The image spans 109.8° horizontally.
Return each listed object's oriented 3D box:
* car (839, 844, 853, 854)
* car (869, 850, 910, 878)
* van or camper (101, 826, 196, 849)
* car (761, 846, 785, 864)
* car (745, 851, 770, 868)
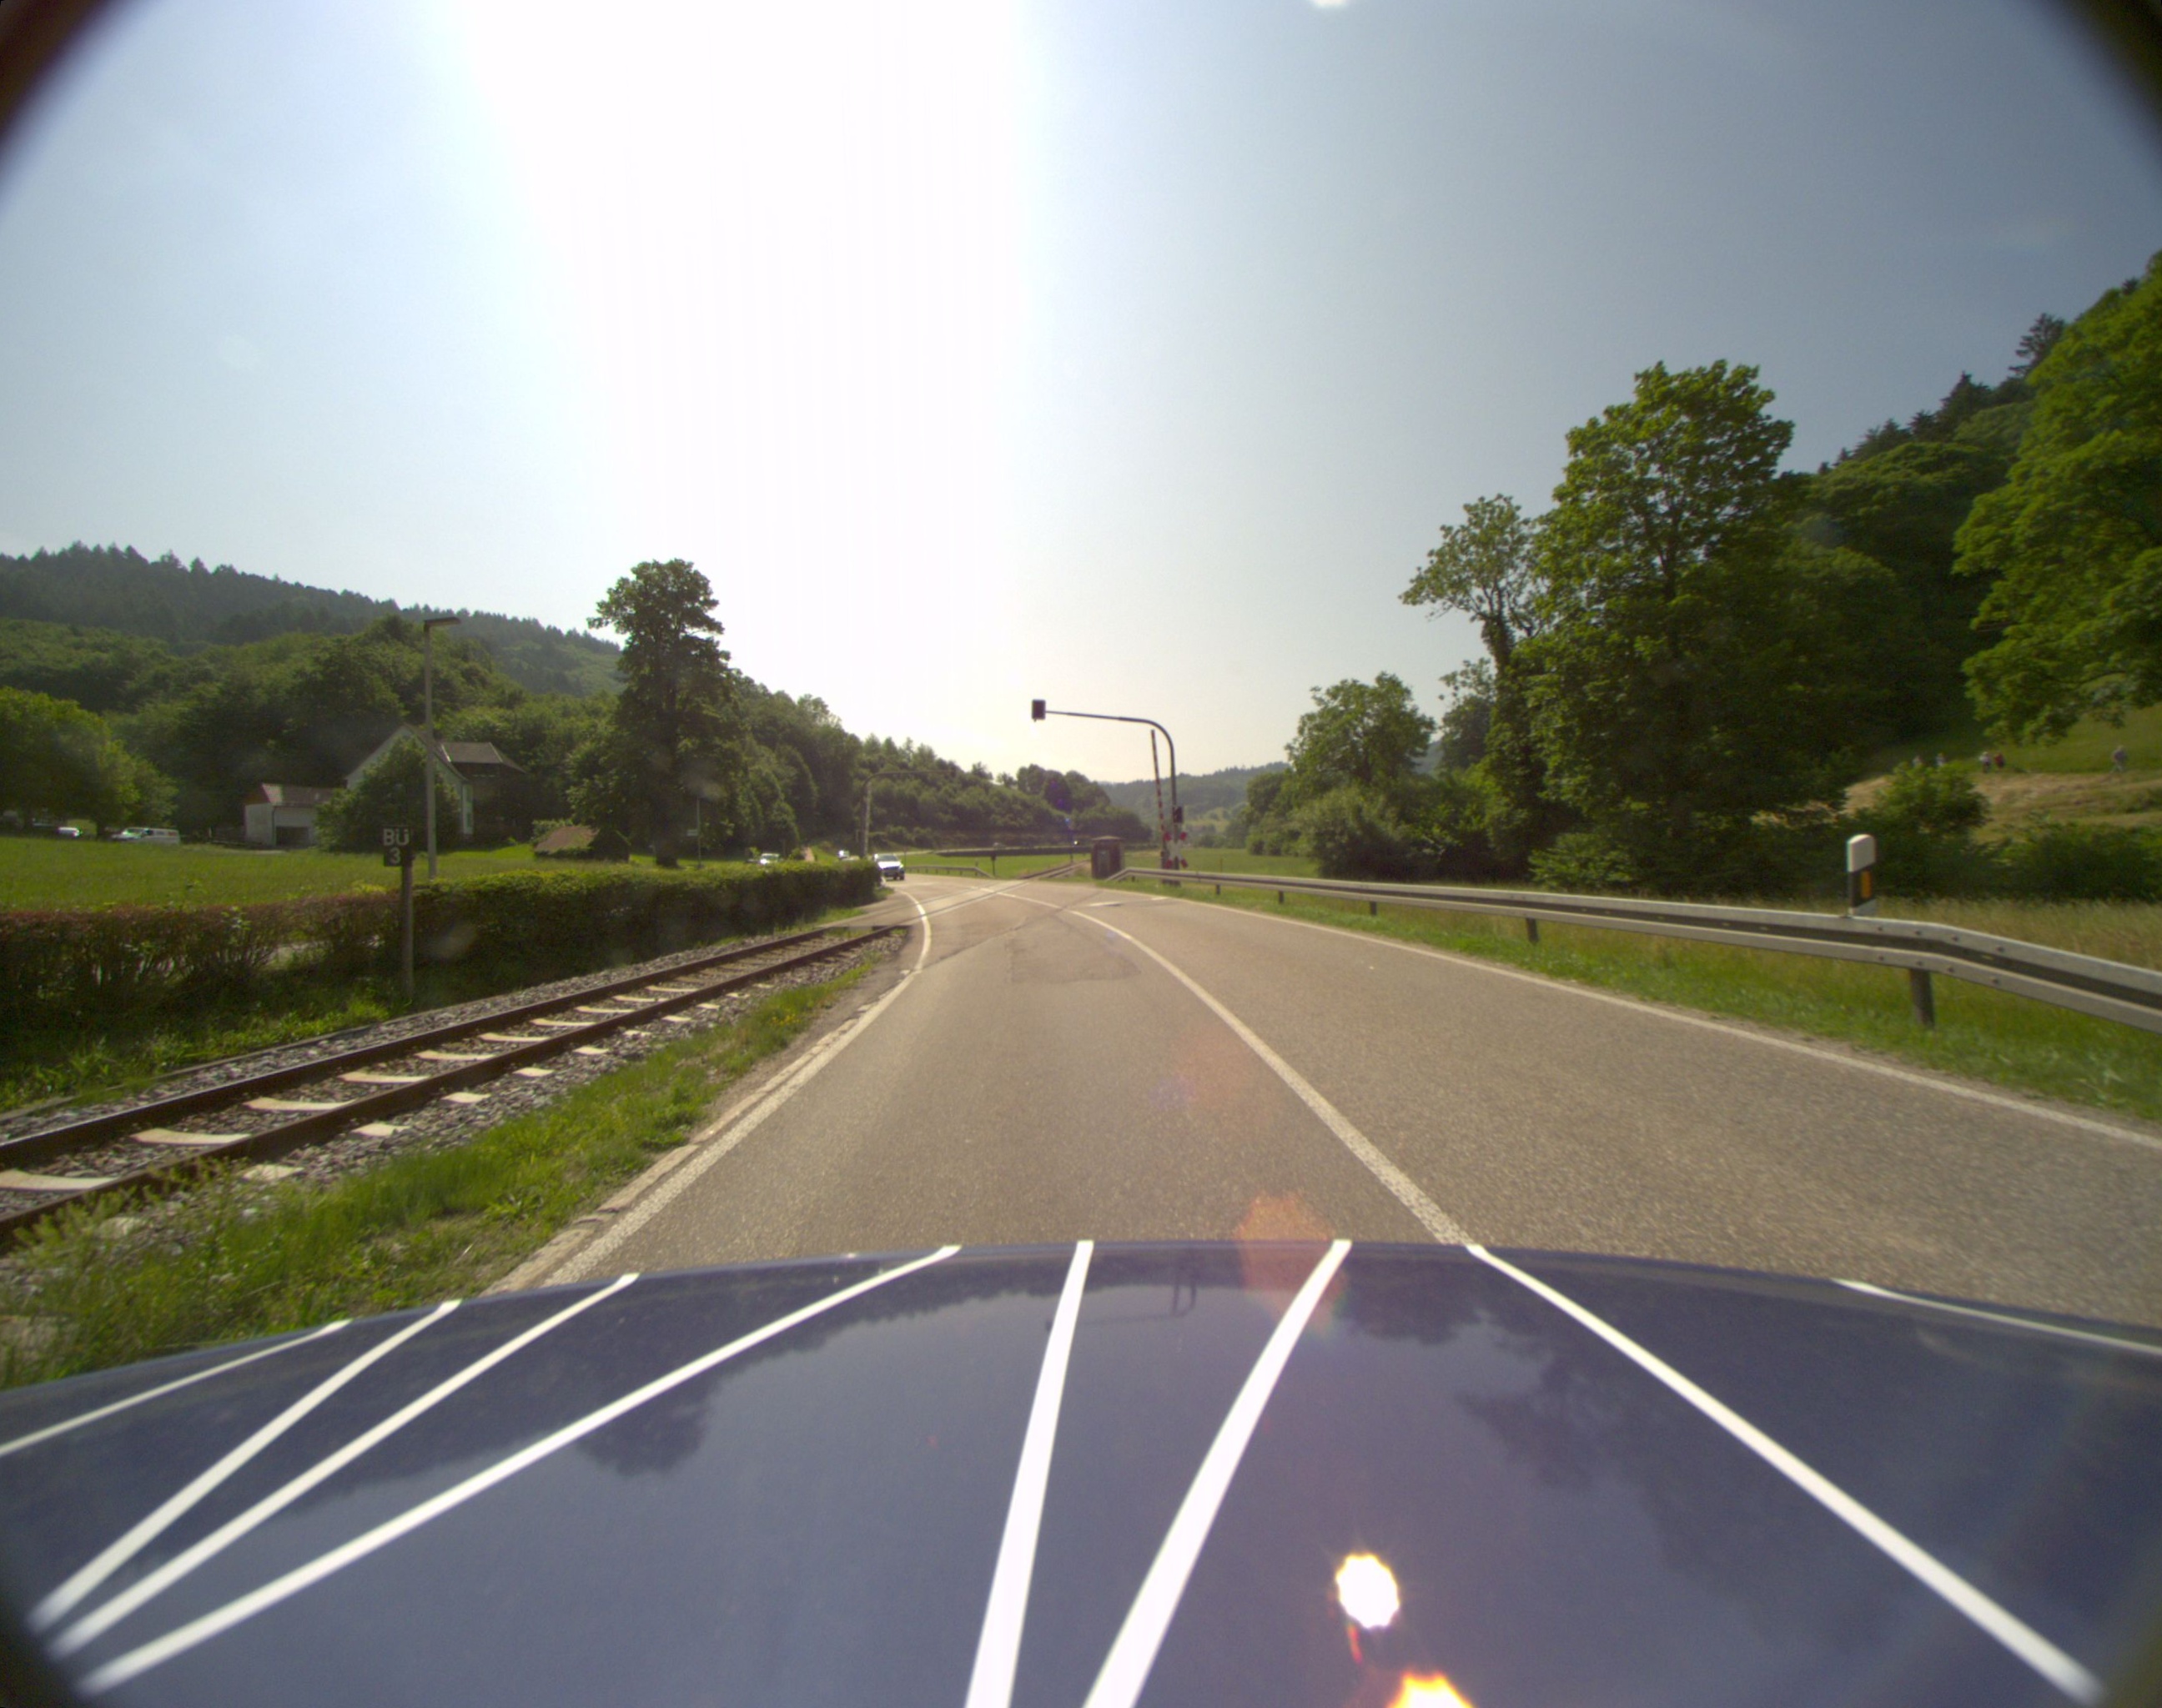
[{"bbox_3d":[-43.524,-0.925,140.963,2.000,1.774,3.995,0,1,-11],"label":"car"},{"bbox_3d":[-13.059,0.621,51.572,2.121,1.804,4.446,0,1,-22],"label":"car"},{"bbox_3d":[-83.217,-1.426,67.963,2.820,1.938,5.427,0,0,-18],"label":"van or camper"},{"bbox_3d":[-33.710,0.076,83.228,2.007,1.838,4.860,-1,1,-17],"label":"car"},{"bbox_3d":[-31.896,0.534,74.803,1.682,1.448,3.705,1,1,-31],"label":"car"}]
